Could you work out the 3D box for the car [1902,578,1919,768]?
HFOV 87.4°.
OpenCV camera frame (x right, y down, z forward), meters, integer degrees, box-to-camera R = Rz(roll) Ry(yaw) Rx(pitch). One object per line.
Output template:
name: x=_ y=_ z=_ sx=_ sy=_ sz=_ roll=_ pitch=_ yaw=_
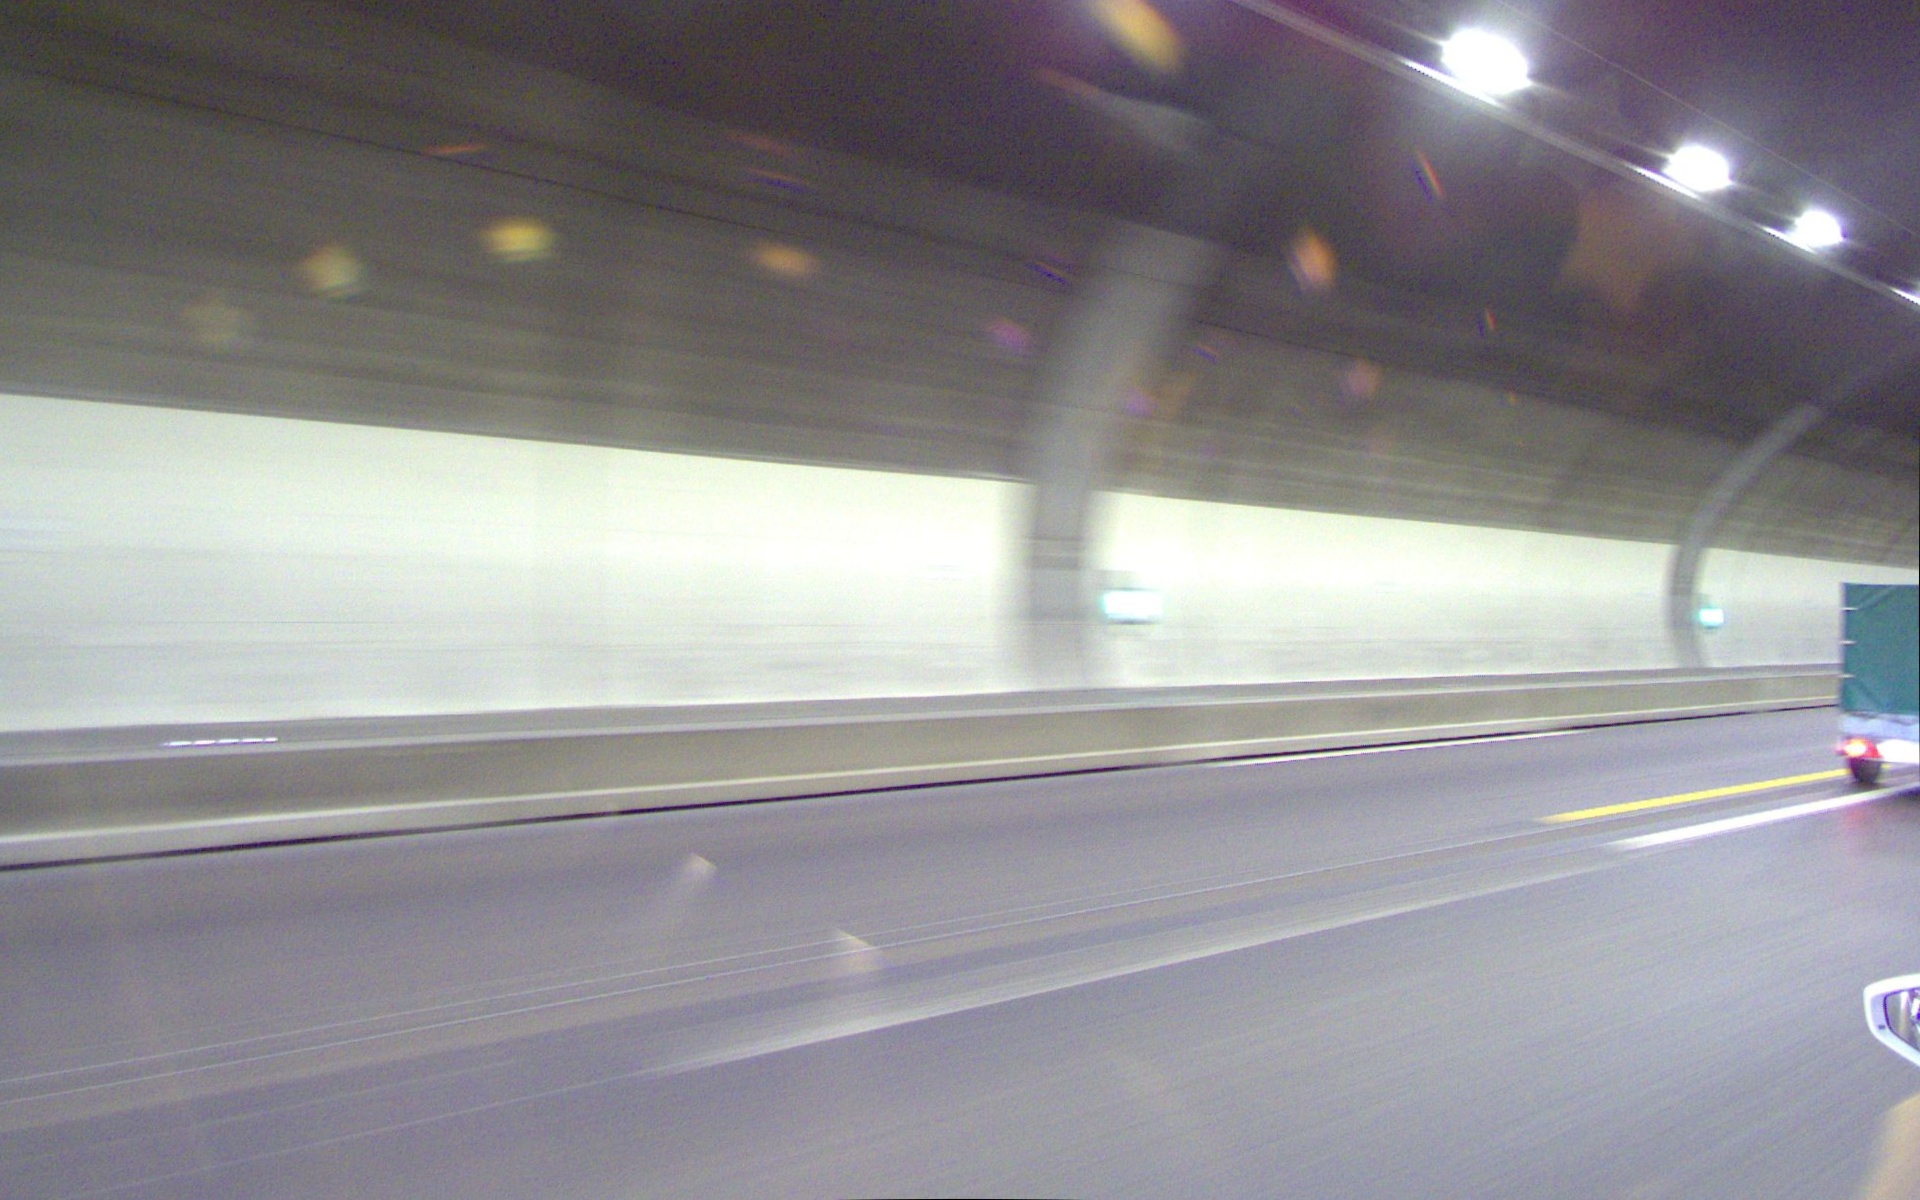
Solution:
car: x=12.425 y=0.790 z=10.786 sx=5.390 sy=1.920 sz=1.984 roll=1 pitch=-1 yaw=-31
